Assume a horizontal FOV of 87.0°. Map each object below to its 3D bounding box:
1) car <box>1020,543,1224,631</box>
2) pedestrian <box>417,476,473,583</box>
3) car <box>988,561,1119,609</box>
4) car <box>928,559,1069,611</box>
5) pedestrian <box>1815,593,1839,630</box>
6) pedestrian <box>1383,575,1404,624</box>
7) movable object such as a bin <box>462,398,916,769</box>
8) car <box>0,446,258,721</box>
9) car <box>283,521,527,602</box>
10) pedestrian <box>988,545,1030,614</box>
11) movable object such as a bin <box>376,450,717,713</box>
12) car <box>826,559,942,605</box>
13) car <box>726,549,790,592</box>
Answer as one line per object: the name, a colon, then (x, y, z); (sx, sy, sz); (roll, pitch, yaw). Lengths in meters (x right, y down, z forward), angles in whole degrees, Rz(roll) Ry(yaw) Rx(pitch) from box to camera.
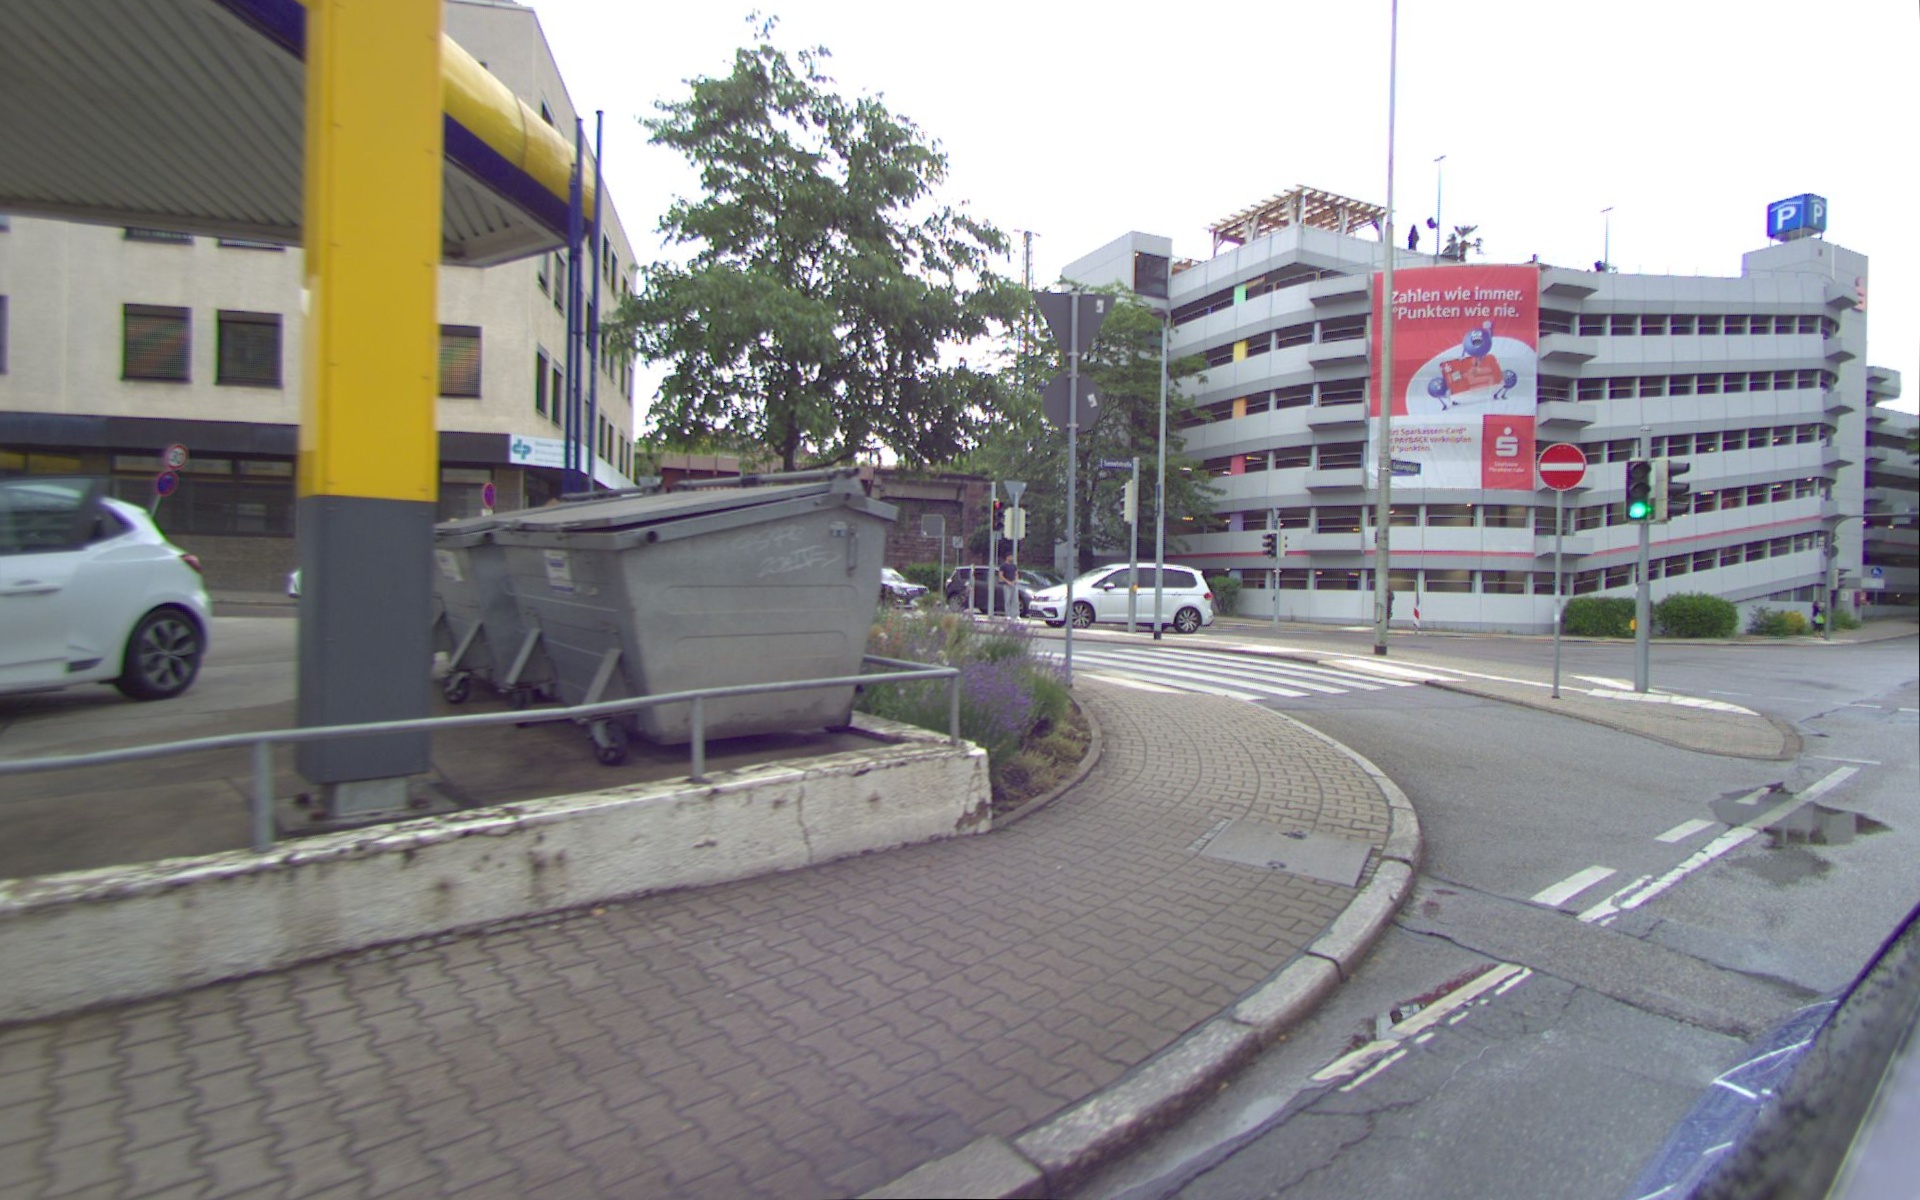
car: (3.845, -0.278, 24.319); (4.308, 1.748, 2.004); (4, -1, -12)
pedestrian: (-7.581, -1.025, 14.895); (0.565, 1.534, 0.478); (0, 0, 9)
car: (3.305, -0.553, 36.414); (1.966, 1.462, 4.477); (0, 3, -43)
car: (1.243, -0.530, 33.912); (4.468, 1.462, 1.970); (5, 3, 42)
pedestrian: (39.962, 0.534, 46.643); (0.508, 1.679, 0.586); (0, 4, -23)
pedestrian: (17.366, -0.024, 40.549); (0.536, 1.913, 0.506); (4, 2, 10)
movable object such as a bin: (-1.605, -0.117, 5.745); (1.741, 1.594, 2.161); (0, 2, -40)
car: (-5.958, -0.104, 5.268); (1.714, 1.459, 3.999); (2, 3, 3)
car: (-11.468, -0.750, 21.208); (4.120, 1.497, 1.809); (1, -1, -14)
pedestrian: (1.318, -0.552, 27.407); (0.762, 1.814, 0.856); (0, 0, -44)
movable object such as a bin: (-3.087, -0.174, 7.431); (1.741, 1.574, 2.161); (0, 3, -40)
car: (-2.922, -0.694, 38.075); (1.966, 1.462, 4.477); (0, 3, -43)
car: (-9.192, -1.281, 45.770); (1.958, 1.805, 4.171); (0, 0, -24)
